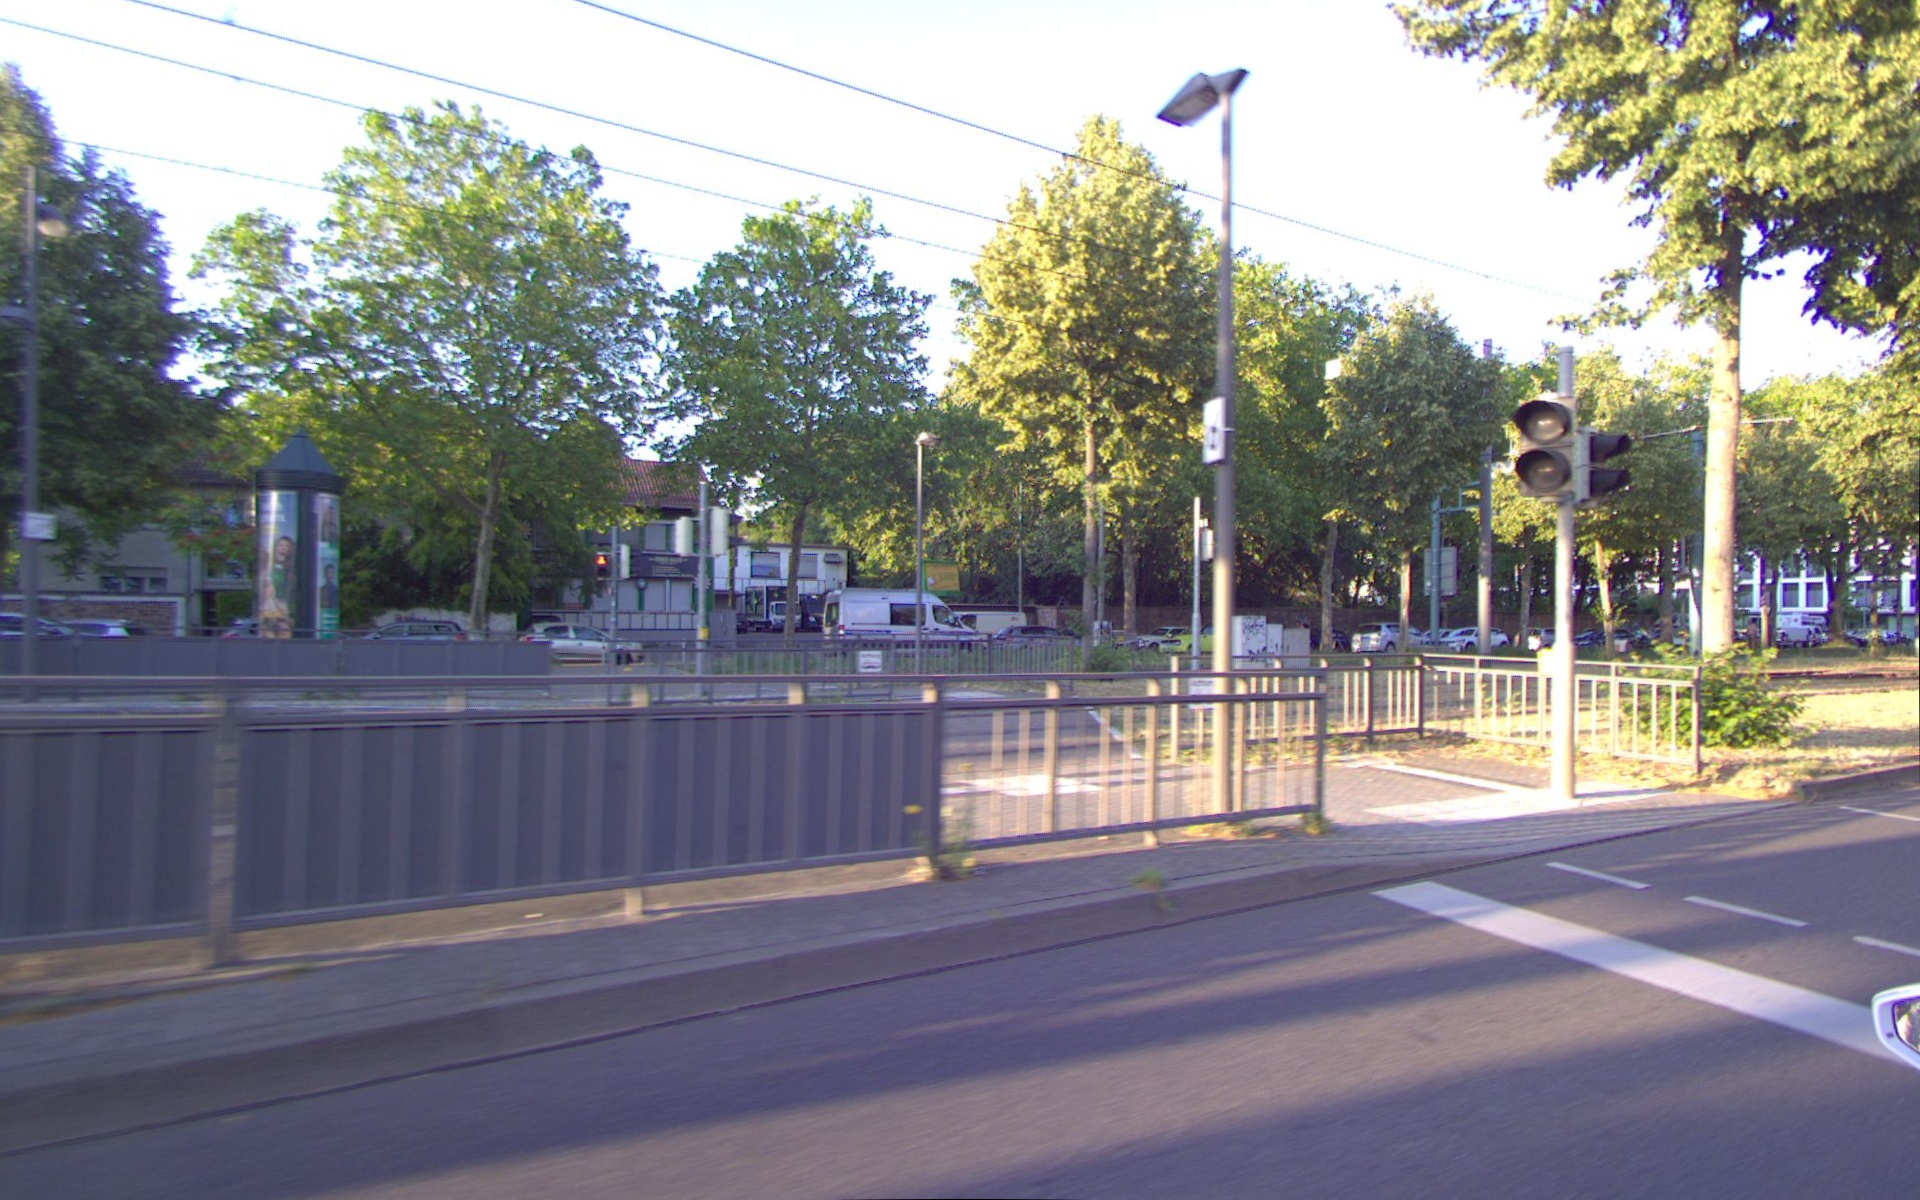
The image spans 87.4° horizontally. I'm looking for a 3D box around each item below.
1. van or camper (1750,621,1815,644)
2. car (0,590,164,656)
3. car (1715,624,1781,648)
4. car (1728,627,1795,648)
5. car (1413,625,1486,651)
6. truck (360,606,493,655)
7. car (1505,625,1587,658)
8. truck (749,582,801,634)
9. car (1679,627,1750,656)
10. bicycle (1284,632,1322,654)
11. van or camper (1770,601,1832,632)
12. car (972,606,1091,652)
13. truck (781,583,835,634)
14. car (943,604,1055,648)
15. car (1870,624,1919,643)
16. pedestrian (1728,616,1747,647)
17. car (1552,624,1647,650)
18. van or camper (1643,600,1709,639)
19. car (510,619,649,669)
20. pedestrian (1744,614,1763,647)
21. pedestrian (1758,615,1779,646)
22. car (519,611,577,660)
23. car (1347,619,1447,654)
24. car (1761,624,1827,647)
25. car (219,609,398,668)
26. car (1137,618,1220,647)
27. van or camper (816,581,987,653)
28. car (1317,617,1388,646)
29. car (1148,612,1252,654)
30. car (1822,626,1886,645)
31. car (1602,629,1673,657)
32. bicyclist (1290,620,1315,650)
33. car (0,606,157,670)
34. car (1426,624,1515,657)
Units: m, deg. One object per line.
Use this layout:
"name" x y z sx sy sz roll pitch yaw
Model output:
"van or camper" 69.083 2.709 84.362 1.983 1.815 3.954 1 -1 -40
"car" -28.831 0.744 32.884 3.947 2.040 1.987 1 -1 -26
"car" 51.938 2.385 66.239 3.949 1.506 1.986 1 -1 -27
"car" 66.341 3.068 83.162 1.901 1.662 3.964 1 -1 -33
"car" 30.124 2.331 61.806 3.943 1.506 1.989 1 -1 -23
"truck" -19.723 1.114 37.312 4.238 1.713 1.986 1 -1 -27
"car" 32.608 2.308 55.898 4.104 1.773 1.988 1 -1 -25
"truck" -13.424 0.614 72.357 2.259 3.566 6.655 1 -1 -23
"car" 47.775 2.609 63.592 4.736 1.773 1.984 1 -1 -31
"bicycle" 18.114 2.259 53.031 1.988 1.105 0.729 1 -1 -25
"van or camper" 87.612 1.759 104.620 6.180 3.126 2.701 1 0 -27
"car" 2.742 1.110 38.309 4.162 1.658 1.983 1 -1 -32
"truck" -11.186 0.657 73.325 2.259 3.566 6.655 1 -1 -23
"car" 1.874 1.241 47.962 4.993 2.040 1.986 1 -1 -27
"car" 84.268 3.005 89.836 1.901 1.662 3.964 1 -1 -33
"pedestrian" 45.466 1.847 58.717 0.858 1.782 0.688 1 -1 -38
"car" 34.264 1.989 53.790 5.075 1.332 1.987 1 -1 -27
"van or camper" 52.405 1.456 73.477 5.434 2.772 2.074 1 -1 -32
"car" -12.528 1.420 33.066 4.048 1.520 1.985 1 -1 -29
"pedestrian" 46.024 1.787 58.273 0.858 1.895 0.688 1 -1 -38
"pedestrian" 46.203 1.737 57.399 0.857 1.766 0.689 1 -1 -32
"car" -18.032 1.508 43.867 1.975 2.040 3.972 1 -1 -27
"car" 20.248 1.685 46.542 4.502 1.519 1.985 1 -1 -30
"car" 71.634 2.994 86.306 1.988 1.869 3.970 1 -1 -29
"car" -17.955 1.038 27.930 4.004 1.552 1.802 1 -1 -29
"car" 11.468 1.691 52.682 3.997 1.511 1.854 1 -1 -27
"van or camper" -2.086 0.625 36.022 5.705 2.396 2.277 1 -1 -26
"car" 22.845 1.822 58.457 3.789 1.617 1.759 1 -1 -27
"car" 9.960 1.331 41.623 3.952 1.661 1.984 1 -1 -30
"car" 80.759 3.184 90.802 1.901 1.662 3.964 1 -1 -33
"car" 39.819 2.523 59.063 3.785 1.581 1.798 1 -1 -25
"bicyclist" 18.070 1.821 53.008 1.070 1.553 0.726 1 -1 -24
"car" -23.174 0.932 25.331 4.246 1.520 1.985 1 -1 -29
"car" 25.119 1.974 49.393 4.255 1.519 1.891 1 -1 -30
